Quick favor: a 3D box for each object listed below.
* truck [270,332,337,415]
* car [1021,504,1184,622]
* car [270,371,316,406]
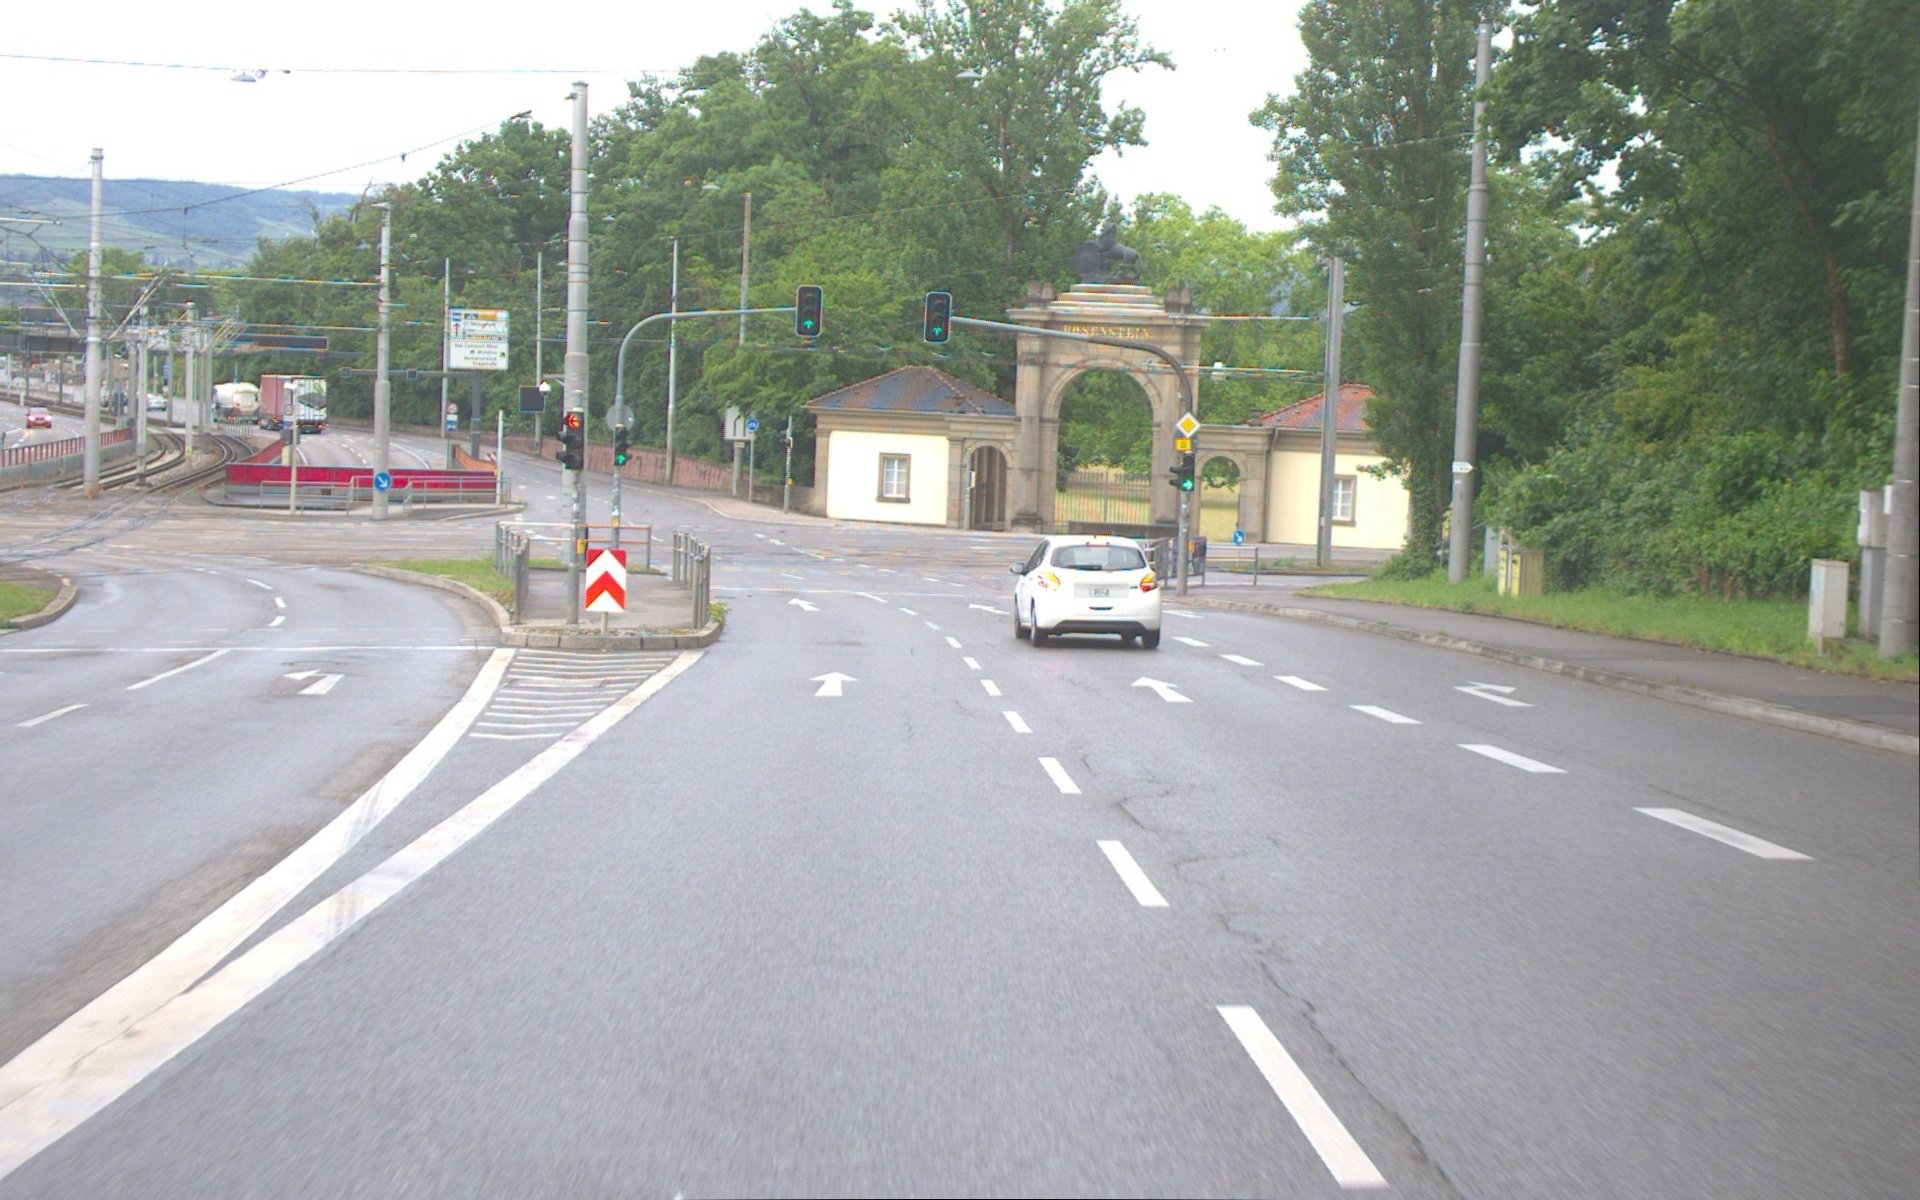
[{"bbox_3d":[-47.264,-16.208,247.316,3.464,5.382,12.056,0,1,-17],"label":"truck"},{"bbox_3d":[1.874,-0.500,46.332,1.955,1.483,4.000,1,1,0],"label":"car"},{"bbox_3d":[-36.302,-11.530,187.048,1.993,1.866,4.002,-1,3,-18],"label":"car"}]
